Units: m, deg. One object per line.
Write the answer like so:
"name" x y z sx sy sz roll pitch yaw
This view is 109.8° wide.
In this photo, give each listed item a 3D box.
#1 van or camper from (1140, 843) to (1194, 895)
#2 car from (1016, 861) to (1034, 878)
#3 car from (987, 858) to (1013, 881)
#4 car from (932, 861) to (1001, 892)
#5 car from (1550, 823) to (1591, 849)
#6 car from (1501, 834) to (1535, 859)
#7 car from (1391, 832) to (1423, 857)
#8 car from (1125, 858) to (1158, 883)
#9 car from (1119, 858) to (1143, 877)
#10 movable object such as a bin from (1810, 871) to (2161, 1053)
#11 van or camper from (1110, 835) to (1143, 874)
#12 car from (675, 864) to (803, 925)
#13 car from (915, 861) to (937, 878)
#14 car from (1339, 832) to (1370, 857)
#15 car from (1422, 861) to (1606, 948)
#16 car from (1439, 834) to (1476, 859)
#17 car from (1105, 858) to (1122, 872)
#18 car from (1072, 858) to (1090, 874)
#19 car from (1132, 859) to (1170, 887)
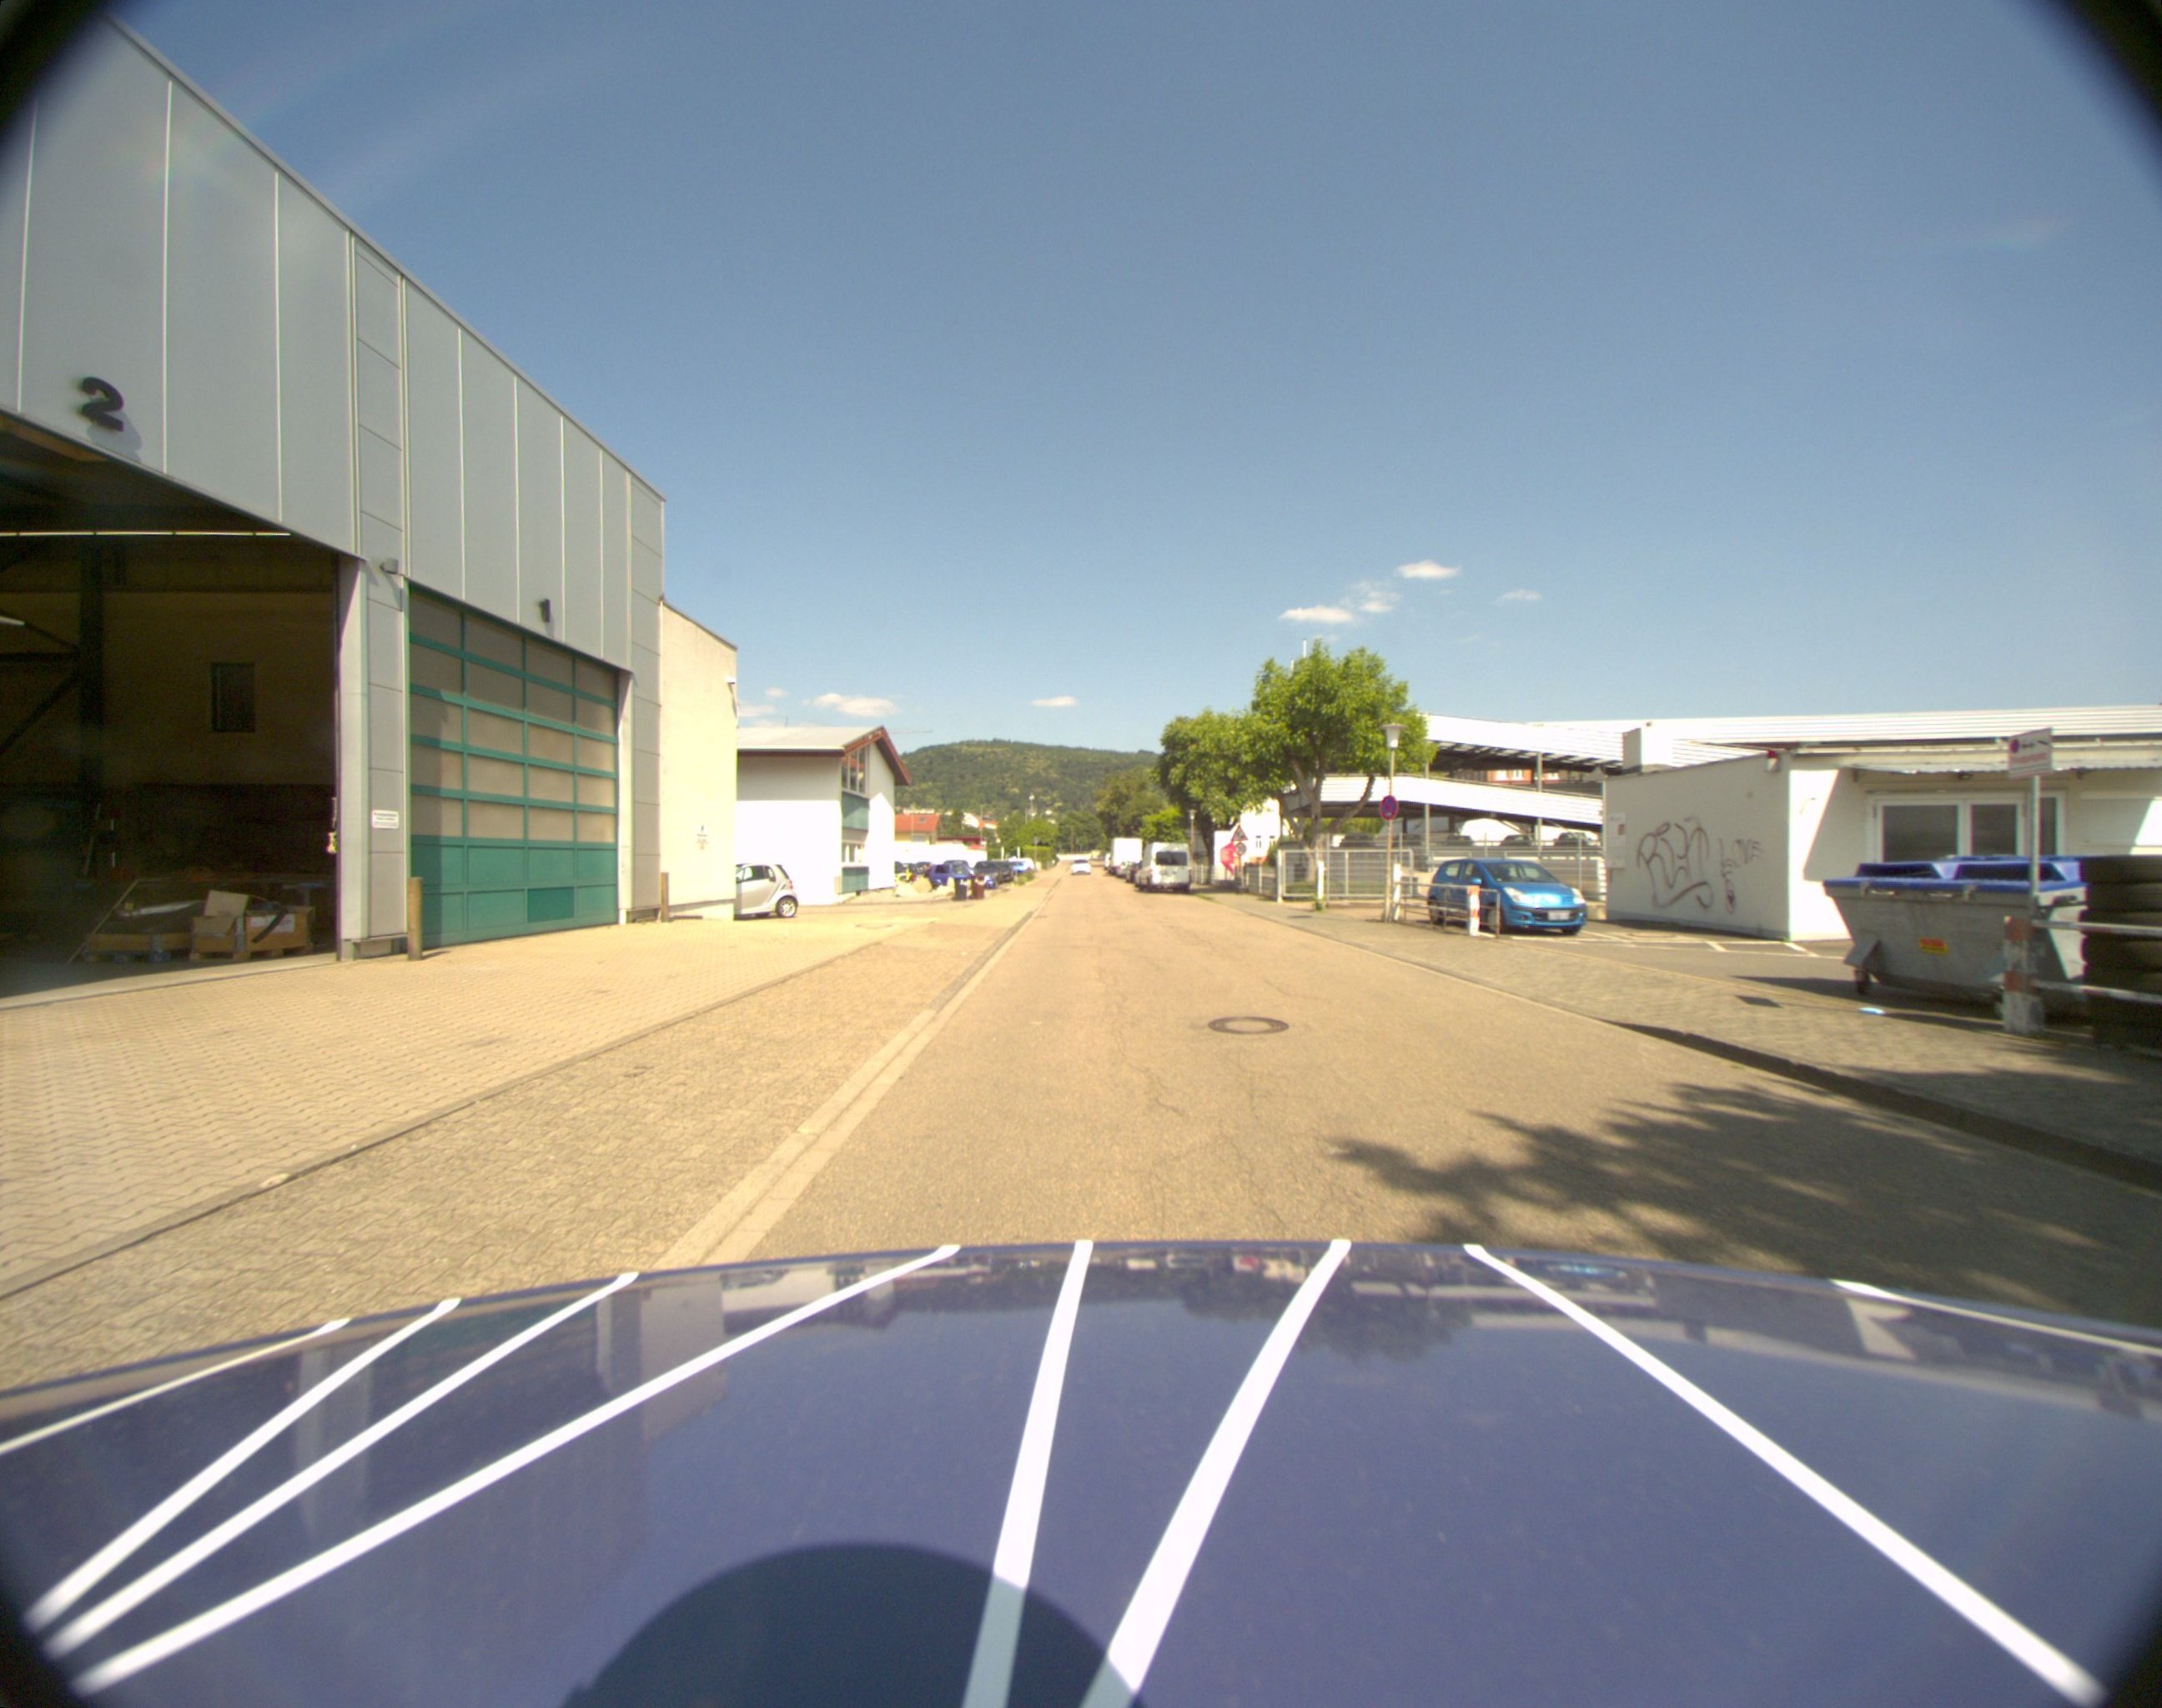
"van or camper" 4.129 0.666 37.154 2.028 2.363 4.685 1 1 -1
"car" -4.946 1.361 66.983 1.452 1.371 3.186 -2 1 -3
"car" -5.625 1.054 52.383 1.453 1.487 3.183 -2 1 -11
"car" -5.376 1.046 35.931 2.975 1.332 1.453 -2 1 1
"car" 29.572 -1.097 45.962 1.705 1.449 3.531 -2 1 27
"car" 26.991 -0.484 47.020 1.705 1.449 3.531 -2 1 29
"car" 20.408 -0.611 47.627 1.705 1.449 3.530 -2 1 21
"car" 4.016 1.074 50.677 1.708 1.449 3.524 -2 1 -3
"car" 4.041 1.086 61.799 1.708 1.449 3.525 1 0 0
"movable object such as a bin" 8.472 0.885 7.082 1.383 1.350 2.104 1 1 5
"van or camper" 4.002 0.050 67.629 2.525 3.350 5.591 0 0 -1
"car" -9.128 1.044 20.371 1.309 1.524 2.829 -2 -2 43
"car" -13.613 1.337 66.899 1.452 1.371 3.186 -2 1 -3
"car" 17.299 -0.592 47.950 1.705 1.449 3.530 -2 1 21
"car" 8.580 0.919 15.417 1.645 1.449 3.524 -2 1 -1
"car" 23.334 -0.490 47.200 1.705 1.449 3.530 -2 1 21
"car" 3.903 1.303 91.275 1.708 1.564 3.524 -2 1 -3
"car" 0.004 1.131 74.548 1.736 1.521 4.109 1 0 0
"car" 4.035 1.097 44.152 1.708 1.449 3.524 -2 1 -3
